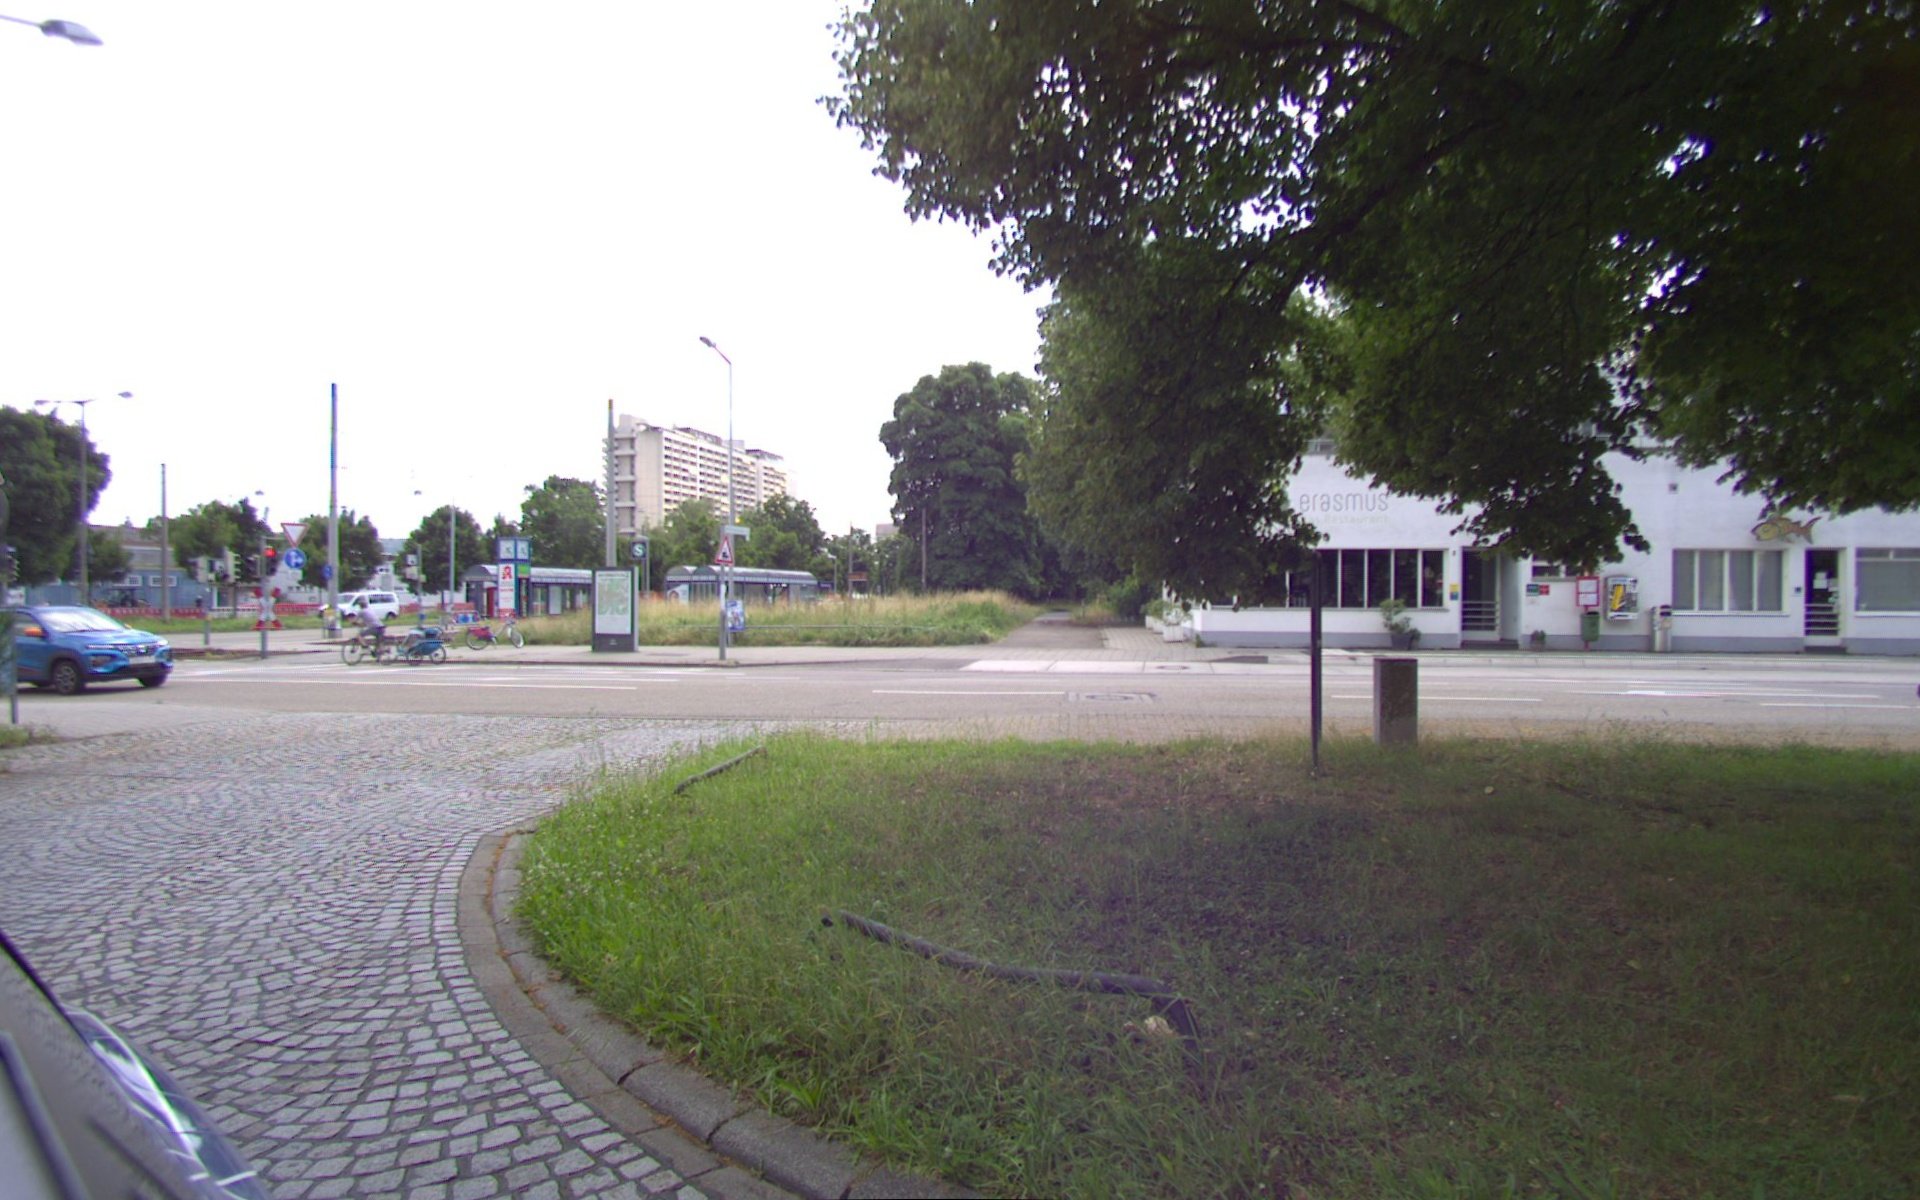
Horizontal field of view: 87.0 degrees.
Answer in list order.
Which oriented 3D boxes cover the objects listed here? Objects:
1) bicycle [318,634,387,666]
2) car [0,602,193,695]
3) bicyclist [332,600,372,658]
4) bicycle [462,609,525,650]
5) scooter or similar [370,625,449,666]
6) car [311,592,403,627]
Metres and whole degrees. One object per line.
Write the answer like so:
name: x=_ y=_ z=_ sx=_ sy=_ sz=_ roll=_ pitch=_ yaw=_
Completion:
bicycle: x=-15.806 y=1.289 z=26.320 sx=1.713 sy=0.771 sz=0.552 roll=0 pitch=0 yaw=18
car: x=-15.430 y=0.805 z=17.356 sx=3.663 sy=1.475 sz=1.600 roll=-1 pitch=0 yaw=11
bicyclist: x=-15.824 y=0.755 z=26.328 sx=0.834 sy=1.486 sz=0.453 roll=0 pitch=0 yaw=17
bicycle: x=-13.978 y=0.877 z=30.373 sx=1.632 sy=1.140 sz=0.704 roll=-2 pitch=1 yaw=-20
scooter or similar: x=-13.990 y=1.145 z=25.728 sx=1.566 sy=0.987 sz=0.957 roll=-1 pitch=0 yaw=18
car: x=-36.465 y=0.523 z=61.338 sx=1.982 sy=2.029 sz=4.809 roll=0 pitch=1 yaw=15
